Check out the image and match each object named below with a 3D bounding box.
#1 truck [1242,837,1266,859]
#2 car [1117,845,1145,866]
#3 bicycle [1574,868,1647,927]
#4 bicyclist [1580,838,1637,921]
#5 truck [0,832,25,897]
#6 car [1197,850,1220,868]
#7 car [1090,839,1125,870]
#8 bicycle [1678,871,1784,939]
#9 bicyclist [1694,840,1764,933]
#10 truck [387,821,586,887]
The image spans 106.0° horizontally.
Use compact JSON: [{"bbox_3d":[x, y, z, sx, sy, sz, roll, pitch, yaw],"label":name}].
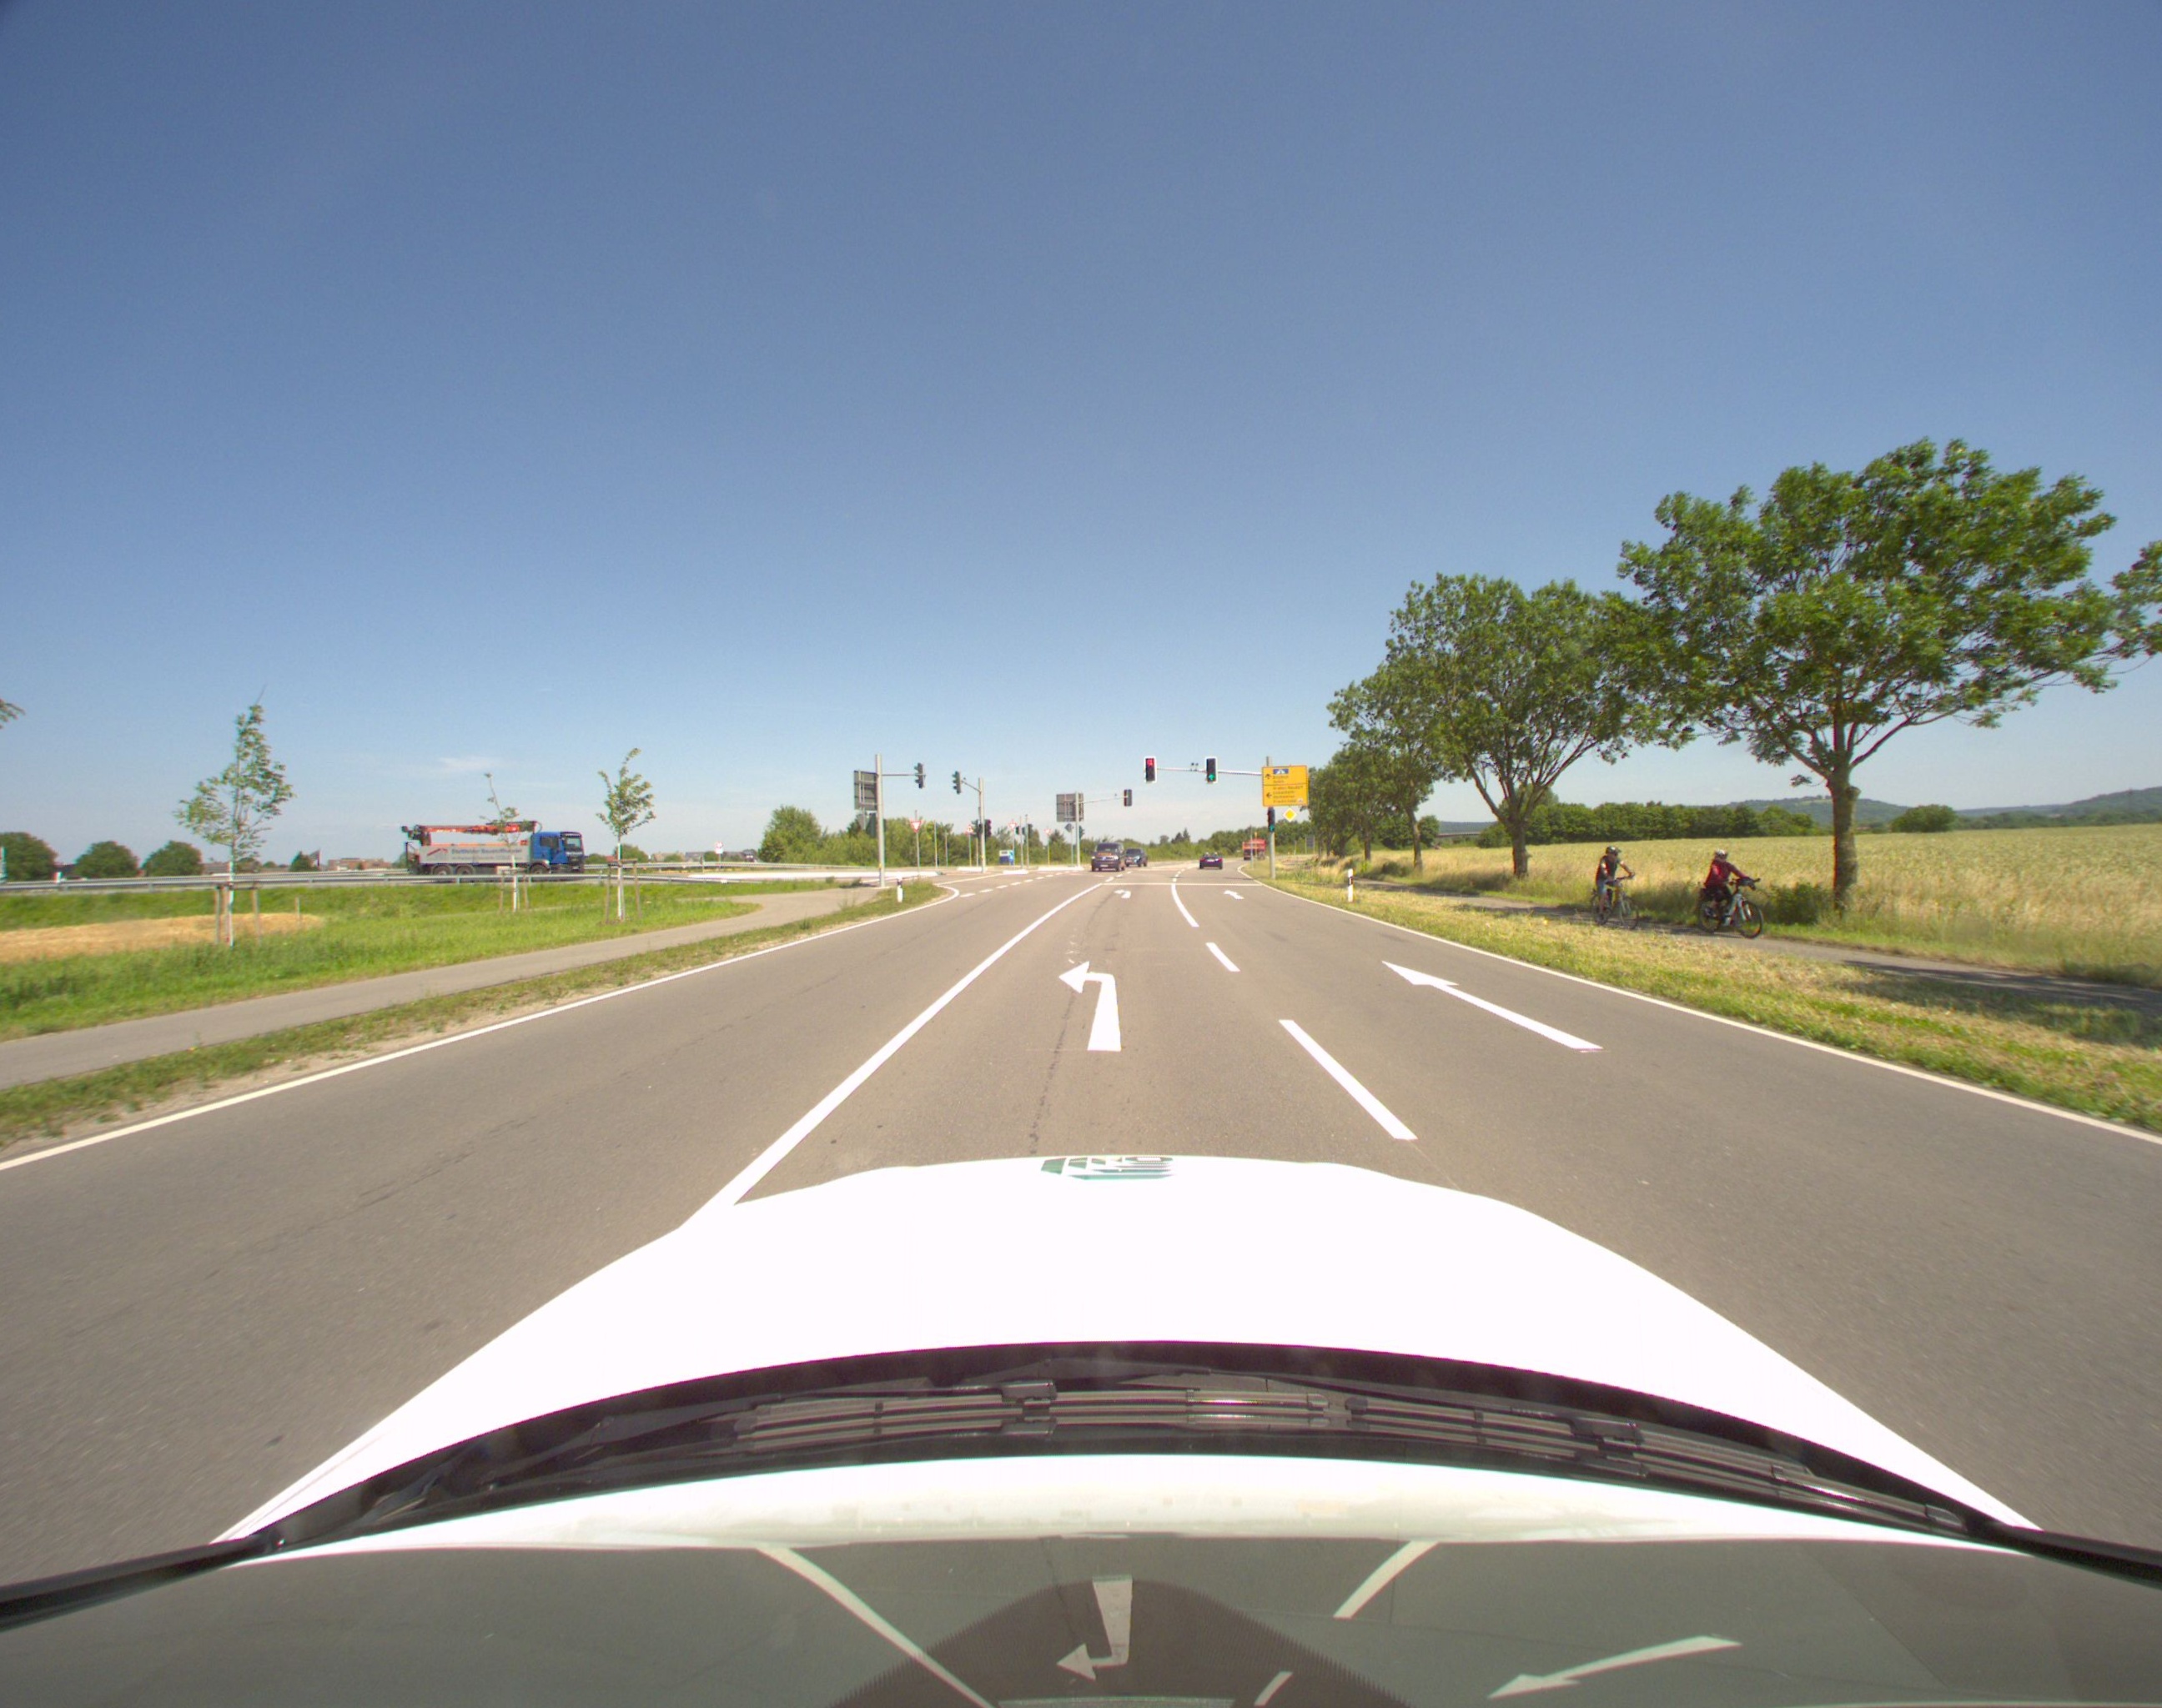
[{"bbox_3d":[25.520,-0.771,119.751,2.692,3.053,8.201,-1,-1,17],"label":"truck"},{"bbox_3d":[4.377,0.117,70.910,1.919,1.739,4.902,-1,0,9],"label":"car"},{"bbox_3d":[11.603,0.922,17.919,0.601,1.176,2.057,2,0,12],"label":"bicycle"},{"bbox_3d":[11.633,0.530,17.989,0.583,1.734,1.176,3,1,12],"label":"bicyclist"},{"bbox_3d":[-65.849,0.672,43.760,11.995,3.614,2.971,-1,0,-12],"label":"truck"},{"bbox_3d":[9.912,0.412,63.164,1.737,1.376,3.688,0,-1,9],"label":"car"},{"bbox_3d":[1.822,0.031,55.212,1.920,1.978,4.694,-1,0,7],"label":"car"},{"bbox_3d":[12.975,0.980,16.351,0.694,1.210,2.055,1,0,8],"label":"bicycle"},{"bbox_3d":[12.978,0.630,16.337,0.624,1.783,0.980,3,1,8],"label":"bicyclist"},{"bbox_3d":[-36.248,-0.026,49.857,10.050,3.793,2.625,-1,0,-1],"label":"truck"}]
